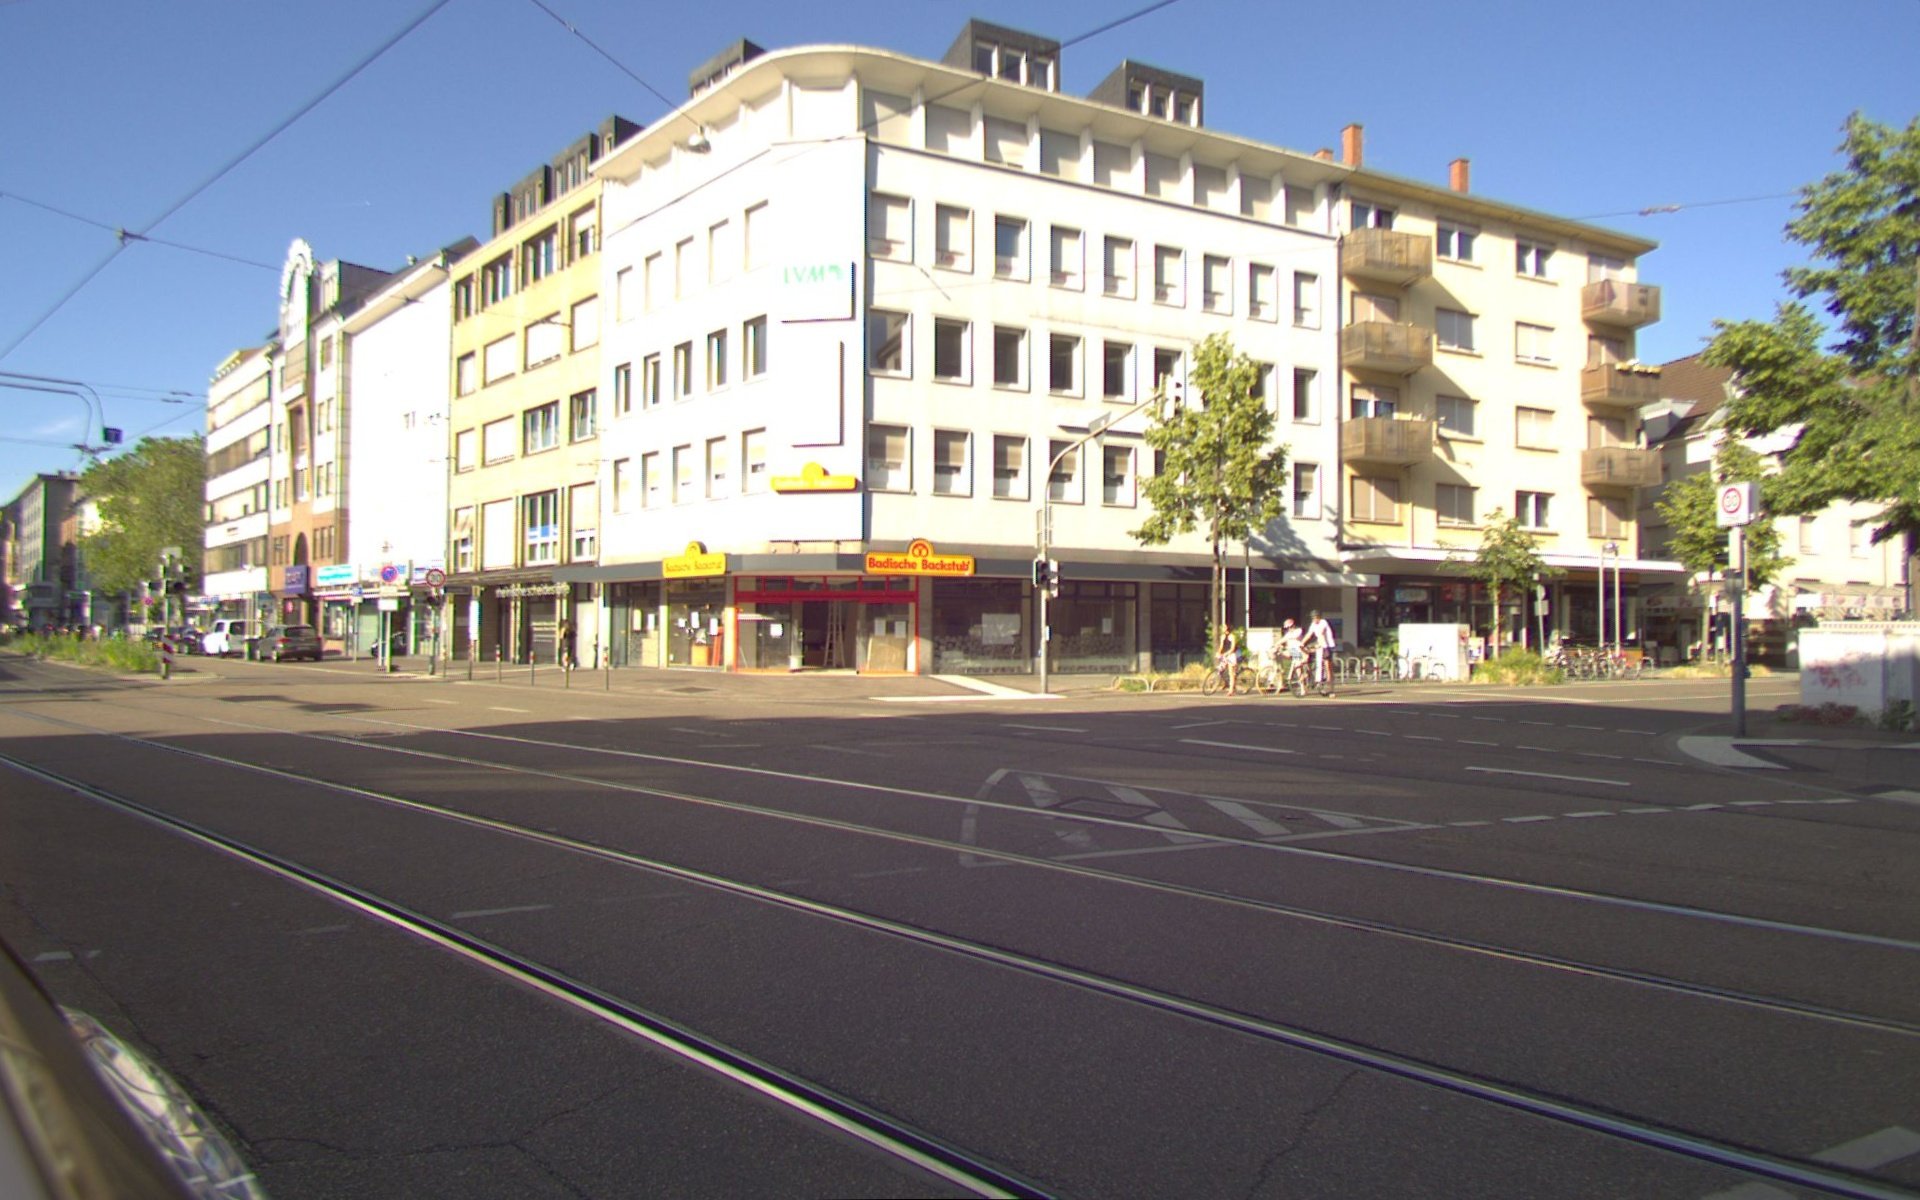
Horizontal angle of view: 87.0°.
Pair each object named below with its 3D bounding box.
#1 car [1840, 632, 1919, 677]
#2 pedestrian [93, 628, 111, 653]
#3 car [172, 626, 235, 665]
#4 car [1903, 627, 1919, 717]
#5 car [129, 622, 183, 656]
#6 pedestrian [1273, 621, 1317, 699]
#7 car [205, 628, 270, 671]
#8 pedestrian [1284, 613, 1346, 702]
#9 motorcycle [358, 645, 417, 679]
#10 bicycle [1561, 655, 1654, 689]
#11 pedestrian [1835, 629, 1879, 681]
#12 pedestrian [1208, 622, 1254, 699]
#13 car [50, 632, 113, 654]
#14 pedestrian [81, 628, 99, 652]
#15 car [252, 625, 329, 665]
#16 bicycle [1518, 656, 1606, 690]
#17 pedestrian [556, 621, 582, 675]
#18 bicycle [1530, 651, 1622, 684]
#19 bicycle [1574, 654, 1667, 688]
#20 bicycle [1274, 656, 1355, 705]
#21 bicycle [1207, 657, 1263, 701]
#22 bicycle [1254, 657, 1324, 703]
[{"bbox_3d":[36.219,2.056,38.879,3.930,1.610,2.006,1,-1,-22],"label":"car"},{"bbox_3d":[-58.868,2.776,69.419,0.571,1.728,0.707,0,-2,-4],"label":"pedestrian"},{"bbox_3d":[-40.562,2.413,54.234,4.000,2.029,1.972,-2,-3,43],"label":"car"},{"bbox_3d":[19.967,1.338,18.805,4.213,1.649,2.014,1,-2,-23],"label":"car"},{"bbox_3d":[-49.023,2.383,61.709,4.000,2.029,1.972,-2,-3,43],"label":"car"},{"bbox_3d":[7.601,1.343,22.985,0.550,1.741,0.782,1,-2,-37],"label":"pedestrian"},{"bbox_3d":[-36.178,2.430,50.630,1.970,2.029,4.846,2,-3,-44],"label":"car"},{"bbox_3d":[7.775,1.259,22.193,0.985,1.881,0.782,1,-5,-38],"label":"pedestrian"},{"bbox_3d":[-27.019,2.908,47.775,0.999,1.517,2.225,-2,-3,40],"label":"motorcycle"},{"bbox_3d":[20.294,2.233,31.774,0.645,0.985,2.403,2,-3,-33],"label":"bicycle"},{"bbox_3d":[36.126,2.221,40.752,1.071,2.029,0.957,2,-6,-36],"label":"pedestrian"},{"bbox_3d":[6.238,1.383,23.315,0.643,1.725,0.794,1,-2,-38],"label":"pedestrian"},{"bbox_3d":[-76.634,3.754,88.322,2.000,1.811,3.942,-2,-3,43],"label":"car"},{"bbox_3d":[-59.684,2.771,69.417,0.571,1.637,0.707,0,-2,-4],"label":"pedestrian"},{"bbox_3d":[-29.923,1.985,45.212,4.000,1.719,1.972,-2,-3,43],"label":"car"},{"bbox_3d":[18.427,2.226,31.014,0.645,0.966,2.232,2,-3,-35],"label":"bicycle"},{"bbox_3d":[-12.572,1.546,32.543,0.700,1.722,0.562,1,-3,-26],"label":"pedestrian"},{"bbox_3d":[19.058,2.079,31.360,0.536,0.966,2.410,2,-3,-35],"label":"bicycle"},{"bbox_3d":[20.994,2.248,32.224,0.645,1.013,2.411,2,-3,-34],"label":"bicycle"},{"bbox_3d":[7.745,1.759,22.094,1.696,1.015,0.762,2,-6,-35],"label":"bicycle"},{"bbox_3d":[6.397,1.822,23.520,1.432,0.963,0.482,2,-3,-37],"label":"bicycle"},{"bbox_3d":[7.430,1.787,22.830,1.765,0.975,0.555,2,-3,-35],"label":"bicycle"}]
